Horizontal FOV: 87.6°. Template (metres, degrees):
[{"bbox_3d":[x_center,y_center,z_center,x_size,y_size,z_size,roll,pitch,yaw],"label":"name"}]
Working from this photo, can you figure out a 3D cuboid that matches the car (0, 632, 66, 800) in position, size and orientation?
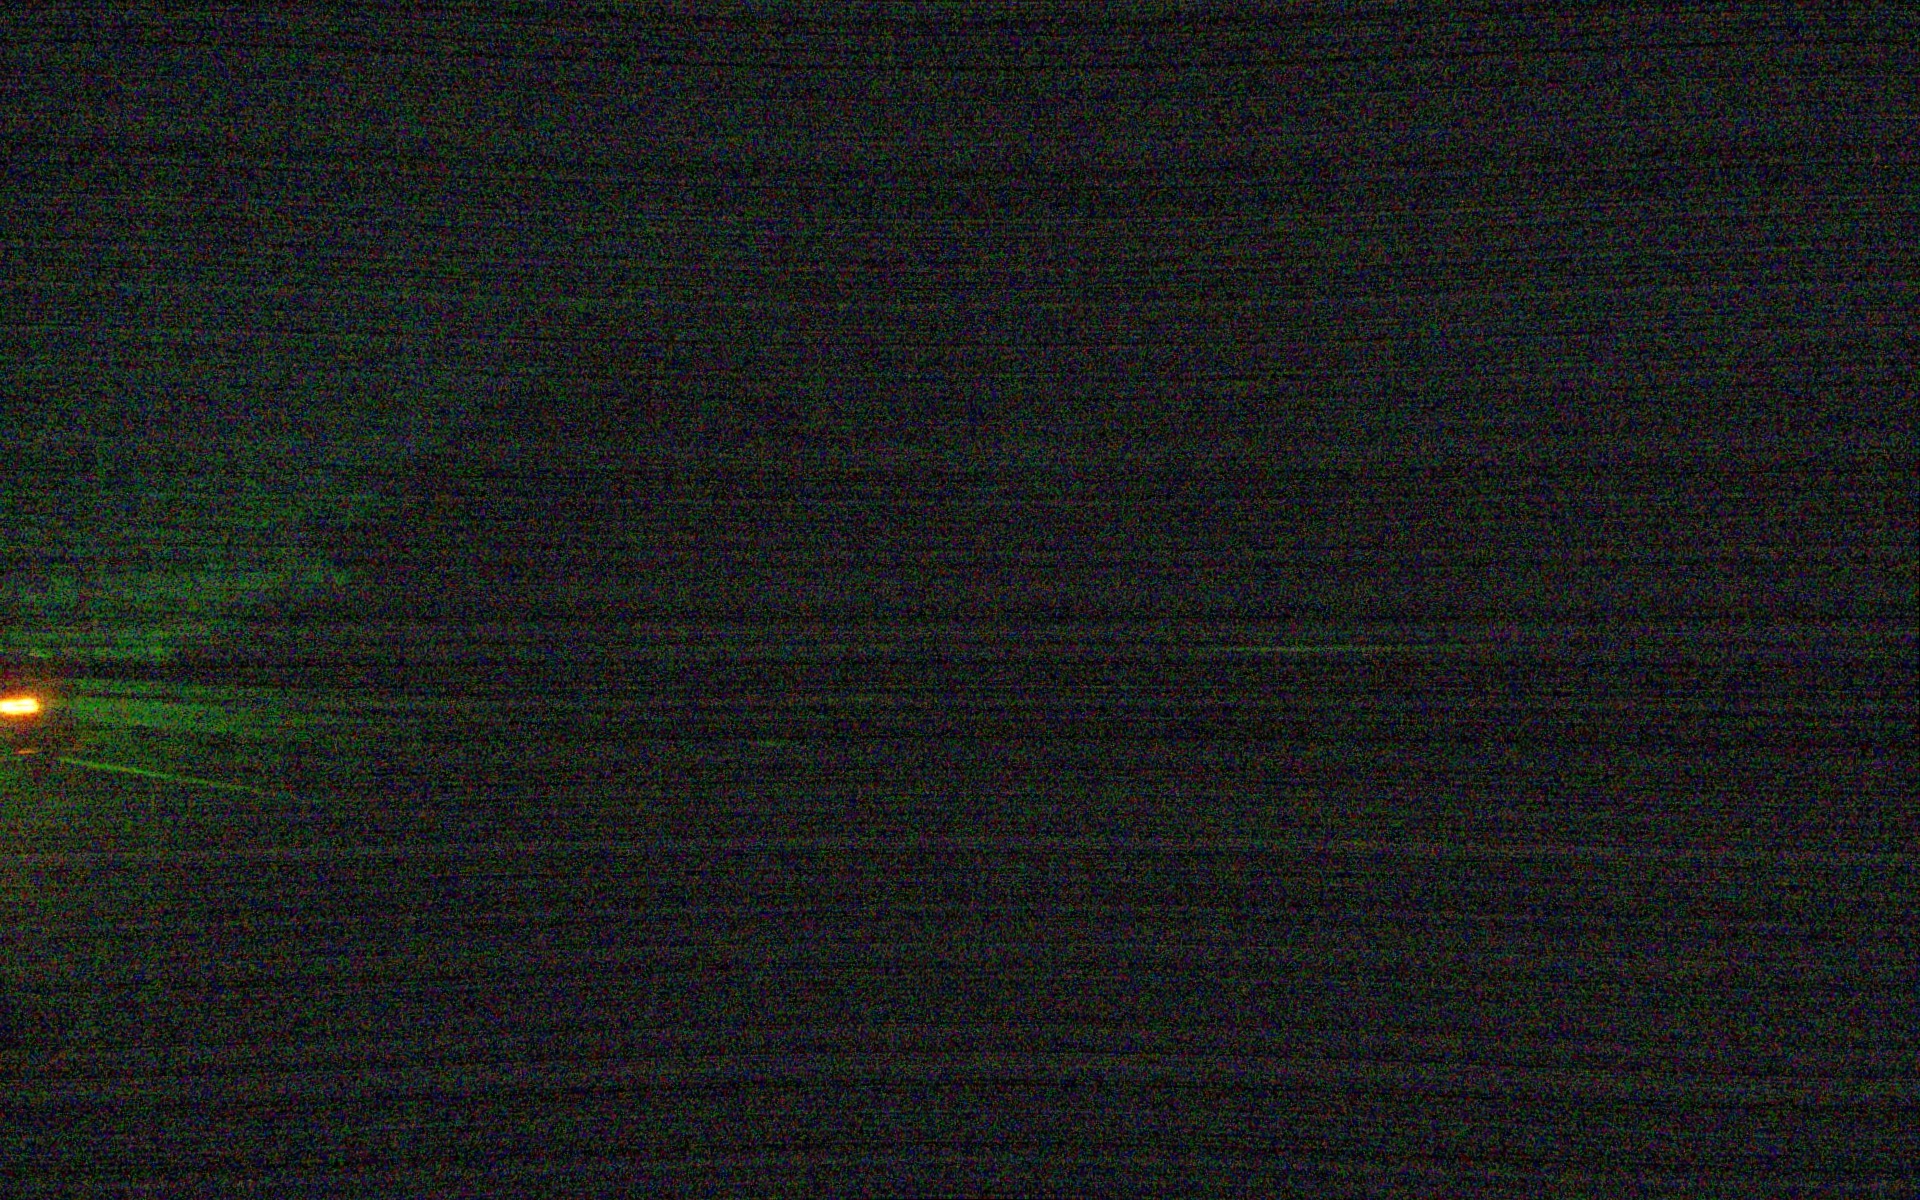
[{"bbox_3d":[-10.612,1.046,9.579,4.804,1.445,1.805,-1,-1,32],"label":"car"}]
